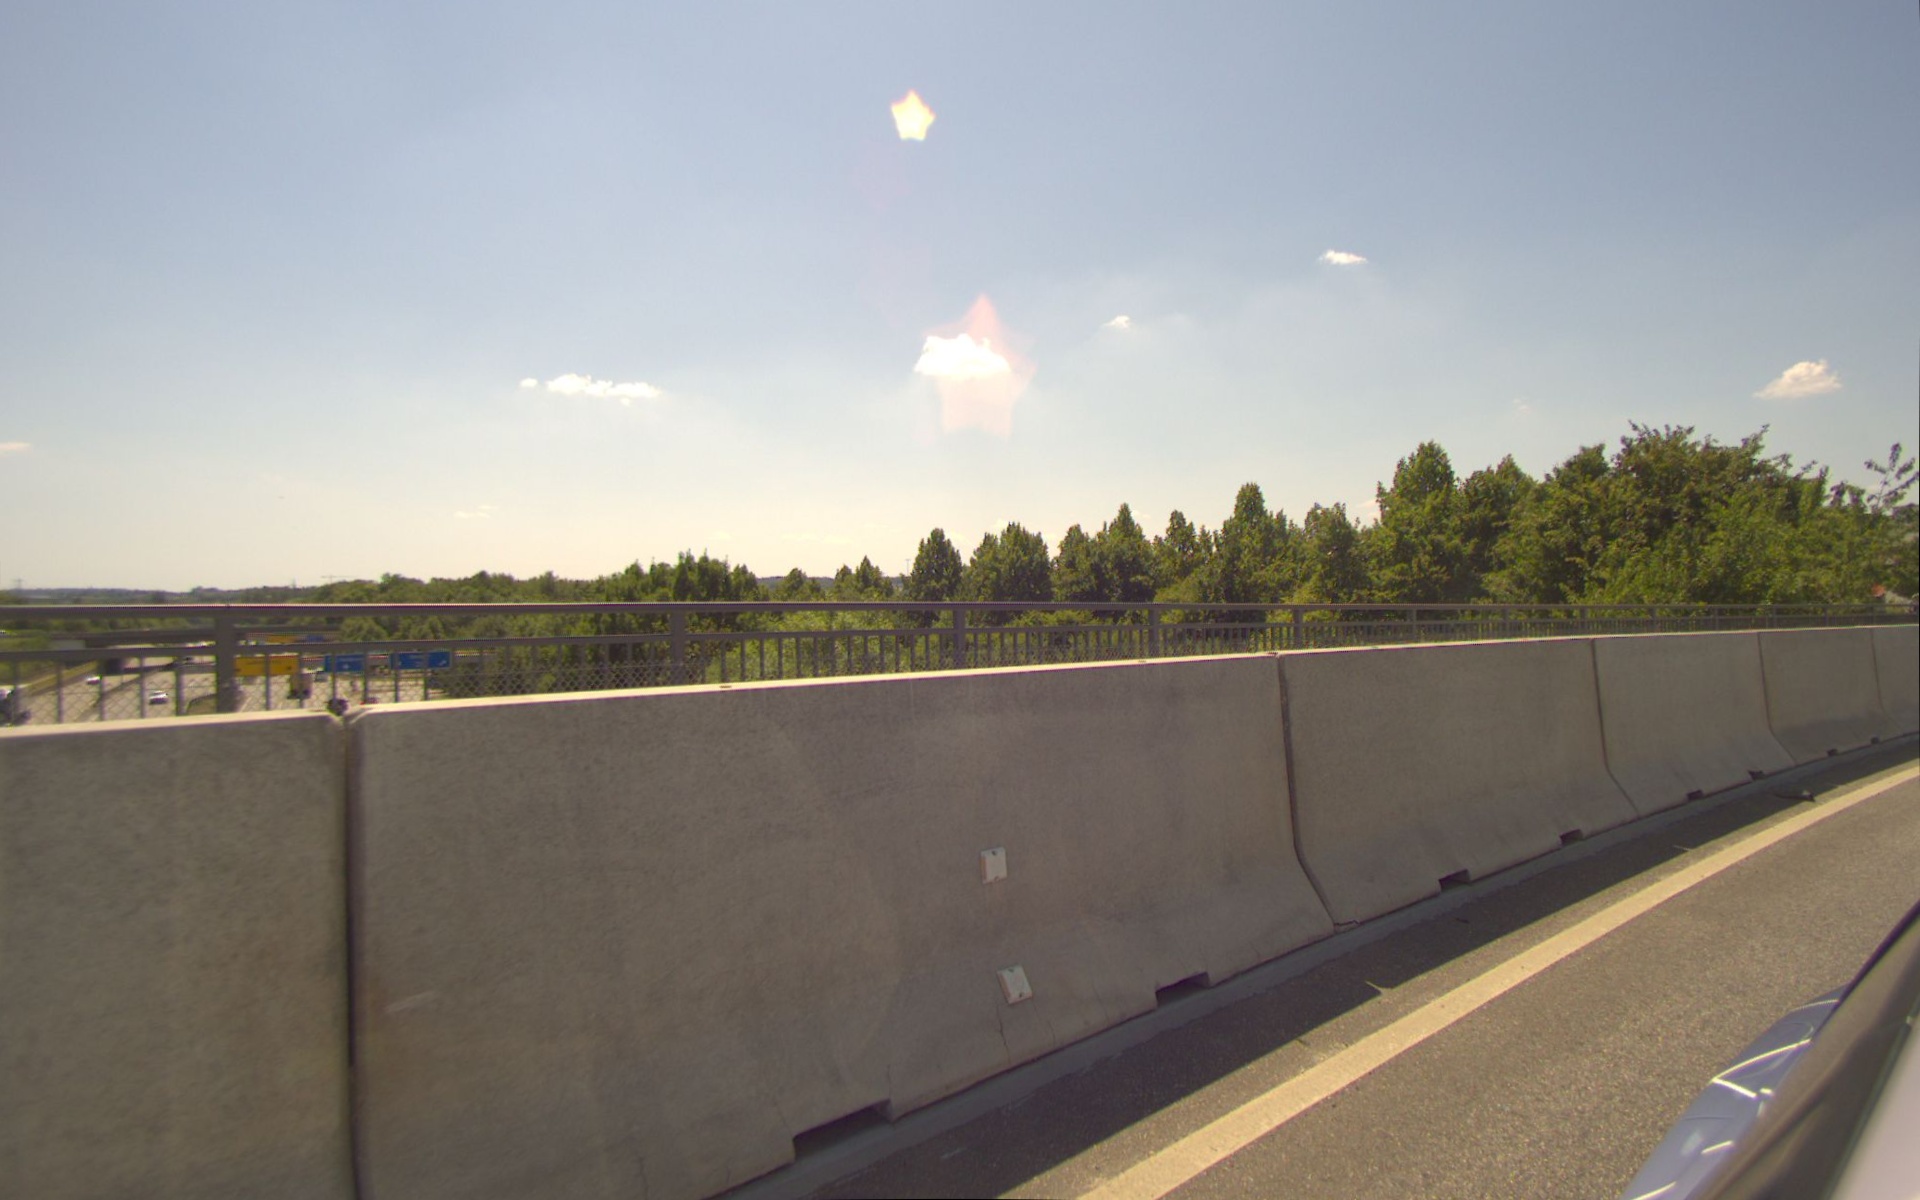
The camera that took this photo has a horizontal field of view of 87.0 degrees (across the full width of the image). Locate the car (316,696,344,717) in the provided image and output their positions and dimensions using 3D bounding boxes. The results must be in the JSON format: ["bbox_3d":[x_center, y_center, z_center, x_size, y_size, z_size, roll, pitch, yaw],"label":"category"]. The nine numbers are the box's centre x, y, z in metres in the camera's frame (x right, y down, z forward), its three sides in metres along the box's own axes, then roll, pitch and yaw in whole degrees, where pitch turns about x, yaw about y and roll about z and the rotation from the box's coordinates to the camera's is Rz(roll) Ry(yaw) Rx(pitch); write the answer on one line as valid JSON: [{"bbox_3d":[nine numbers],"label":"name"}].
[{"bbox_3d":[-68.593,11.588,110.105,2.312,2.040,4.760,0,-3,-35],"label":"car"}]

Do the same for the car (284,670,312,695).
[{"bbox_3d":[-88.856,10.983,135.801,2.867,3.120,7.373,0,-4,-35],"label":"car"}]

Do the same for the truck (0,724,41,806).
[{"bbox_3d":[-56.959,9.707,59.718,2.724,4.094,9.351,-1,-3,-34],"label":"truck"}]

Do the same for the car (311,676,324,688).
[{"bbox_3d":[-107.030,13.629,168.601,1.646,1.899,3.999,0,-4,-34],"label":"car"}]
